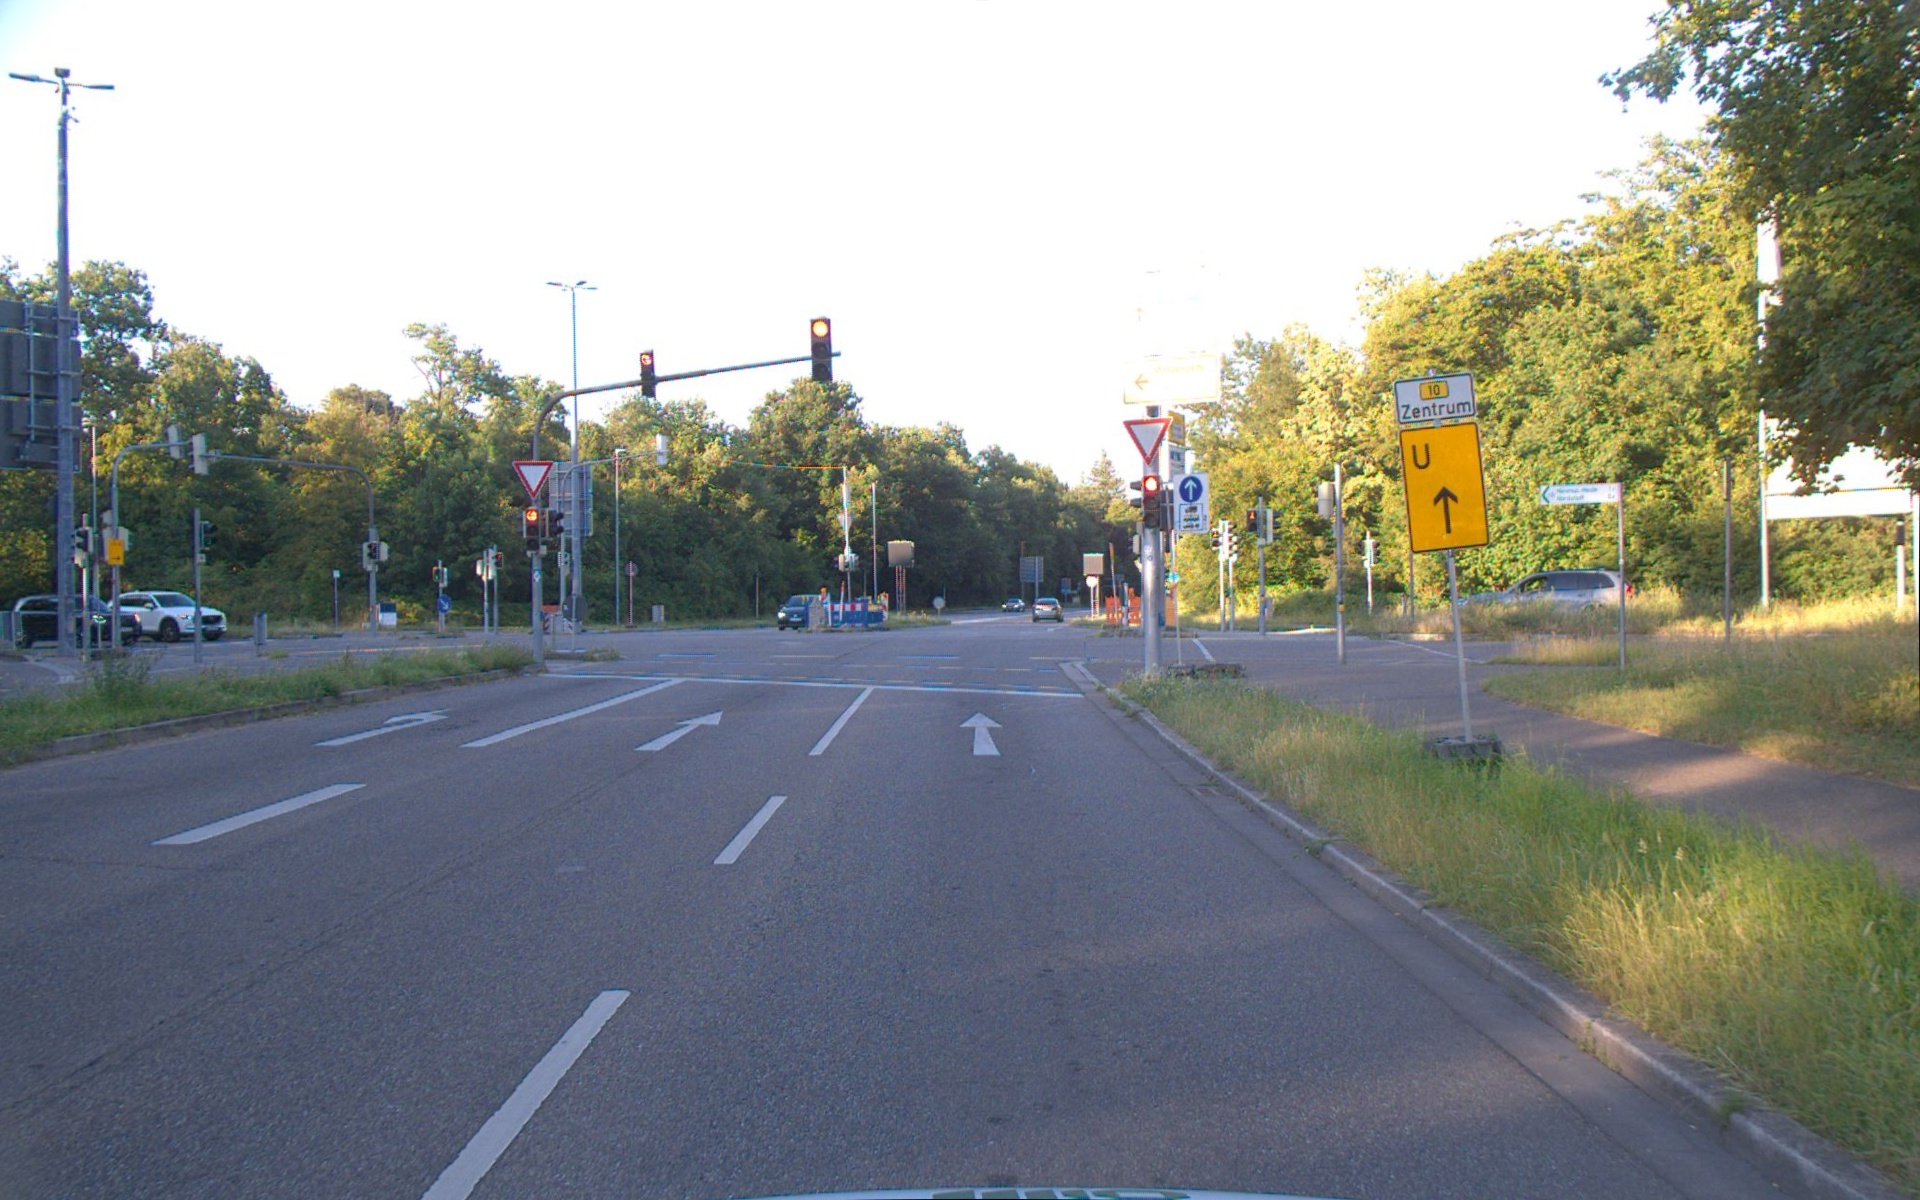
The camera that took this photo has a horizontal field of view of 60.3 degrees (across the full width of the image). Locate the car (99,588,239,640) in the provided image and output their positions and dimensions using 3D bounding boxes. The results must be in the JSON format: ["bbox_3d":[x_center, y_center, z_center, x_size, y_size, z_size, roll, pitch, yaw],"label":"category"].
[{"bbox_3d":[-26.544,0.475,55.522,4.157,1.668,2.000,-1,0,23],"label":"car"}]

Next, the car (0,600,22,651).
[{"bbox_3d":[-33.589,0.857,55.043,4.157,1.668,1.999,-1,0,23],"label":"car"}]

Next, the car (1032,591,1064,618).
[{"bbox_3d":[5.680,0.290,106.554,1.951,1.646,4.002,-1,0,4],"label":"car"}]

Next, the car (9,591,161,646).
[{"bbox_3d":[-27.281,0.567,51.581,4.157,1.668,2.000,-1,0,23],"label":"car"}]

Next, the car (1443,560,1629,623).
[{"bbox_3d":[15.877,-0.224,45.586,4.717,1.626,2.000,-1,0,23],"label":"car"}]

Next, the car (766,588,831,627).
[{"bbox_3d":[-6.786,0.273,69.974,1.951,1.556,4.681,-1,0,5],"label":"car"}]

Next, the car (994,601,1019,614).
[{"bbox_3d":[5.168,0.816,182.710,1.951,1.445,4.004,-1,0,13],"label":"car"}]
